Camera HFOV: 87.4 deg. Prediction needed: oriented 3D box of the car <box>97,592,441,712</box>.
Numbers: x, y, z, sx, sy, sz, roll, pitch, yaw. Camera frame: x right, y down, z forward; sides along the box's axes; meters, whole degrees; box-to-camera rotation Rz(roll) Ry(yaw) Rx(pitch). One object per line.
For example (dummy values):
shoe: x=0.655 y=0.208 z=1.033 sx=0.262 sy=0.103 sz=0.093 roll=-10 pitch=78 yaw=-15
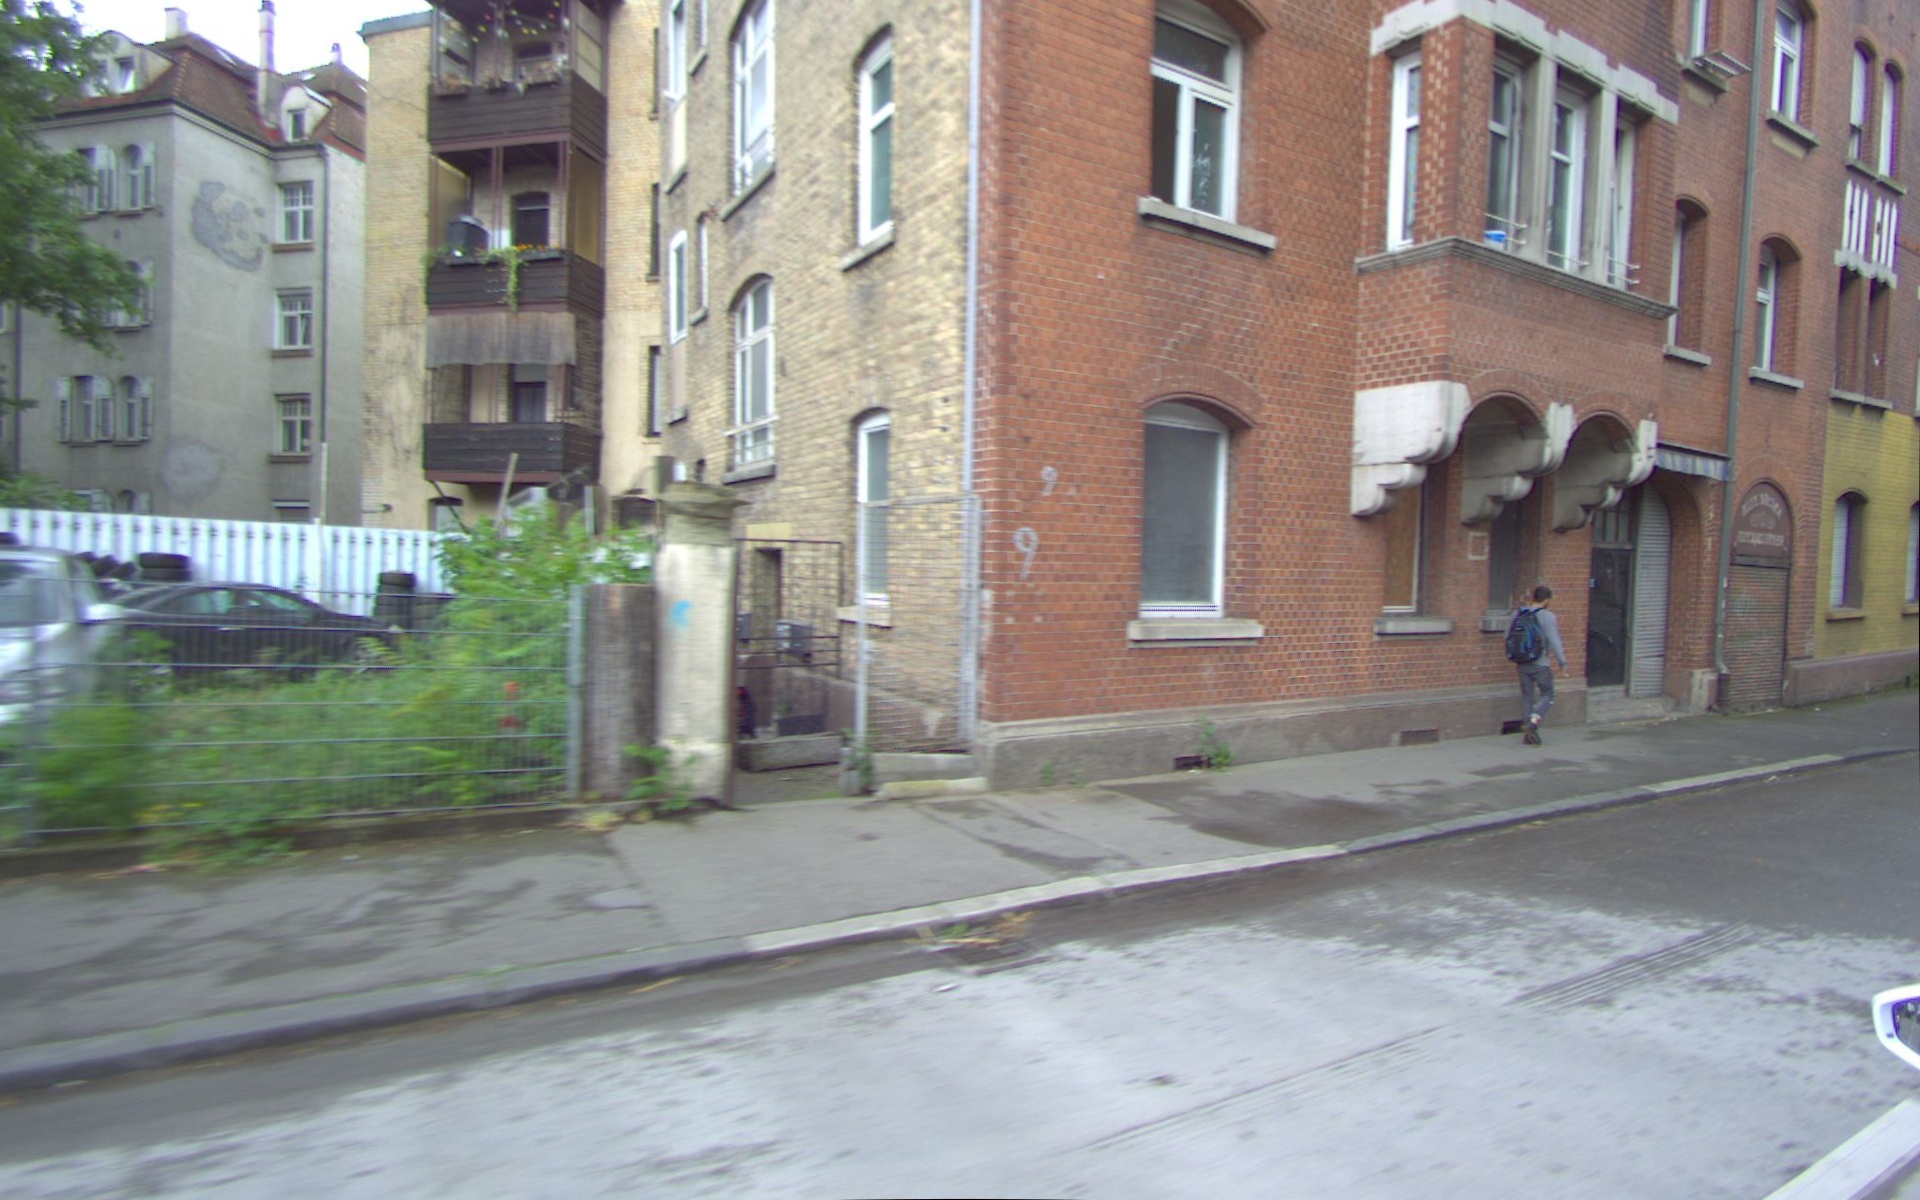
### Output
car: x=-9.228 y=0.594 z=13.685 sx=1.647 sy=1.392 sz=3.502 roll=0 pitch=1 yaw=31

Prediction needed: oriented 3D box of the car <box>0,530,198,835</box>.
car: x=-6.423 y=0.451 z=6.695 sx=1.668 sy=1.633 sz=3.579 roll=0 pitch=-1 yaw=-30

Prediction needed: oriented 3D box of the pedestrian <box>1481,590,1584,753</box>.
pedestrian: x=6.029 y=0.722 z=10.591 sx=0.625 sy=1.631 sz=0.656 roll=-1 pitch=3 yaw=-30
